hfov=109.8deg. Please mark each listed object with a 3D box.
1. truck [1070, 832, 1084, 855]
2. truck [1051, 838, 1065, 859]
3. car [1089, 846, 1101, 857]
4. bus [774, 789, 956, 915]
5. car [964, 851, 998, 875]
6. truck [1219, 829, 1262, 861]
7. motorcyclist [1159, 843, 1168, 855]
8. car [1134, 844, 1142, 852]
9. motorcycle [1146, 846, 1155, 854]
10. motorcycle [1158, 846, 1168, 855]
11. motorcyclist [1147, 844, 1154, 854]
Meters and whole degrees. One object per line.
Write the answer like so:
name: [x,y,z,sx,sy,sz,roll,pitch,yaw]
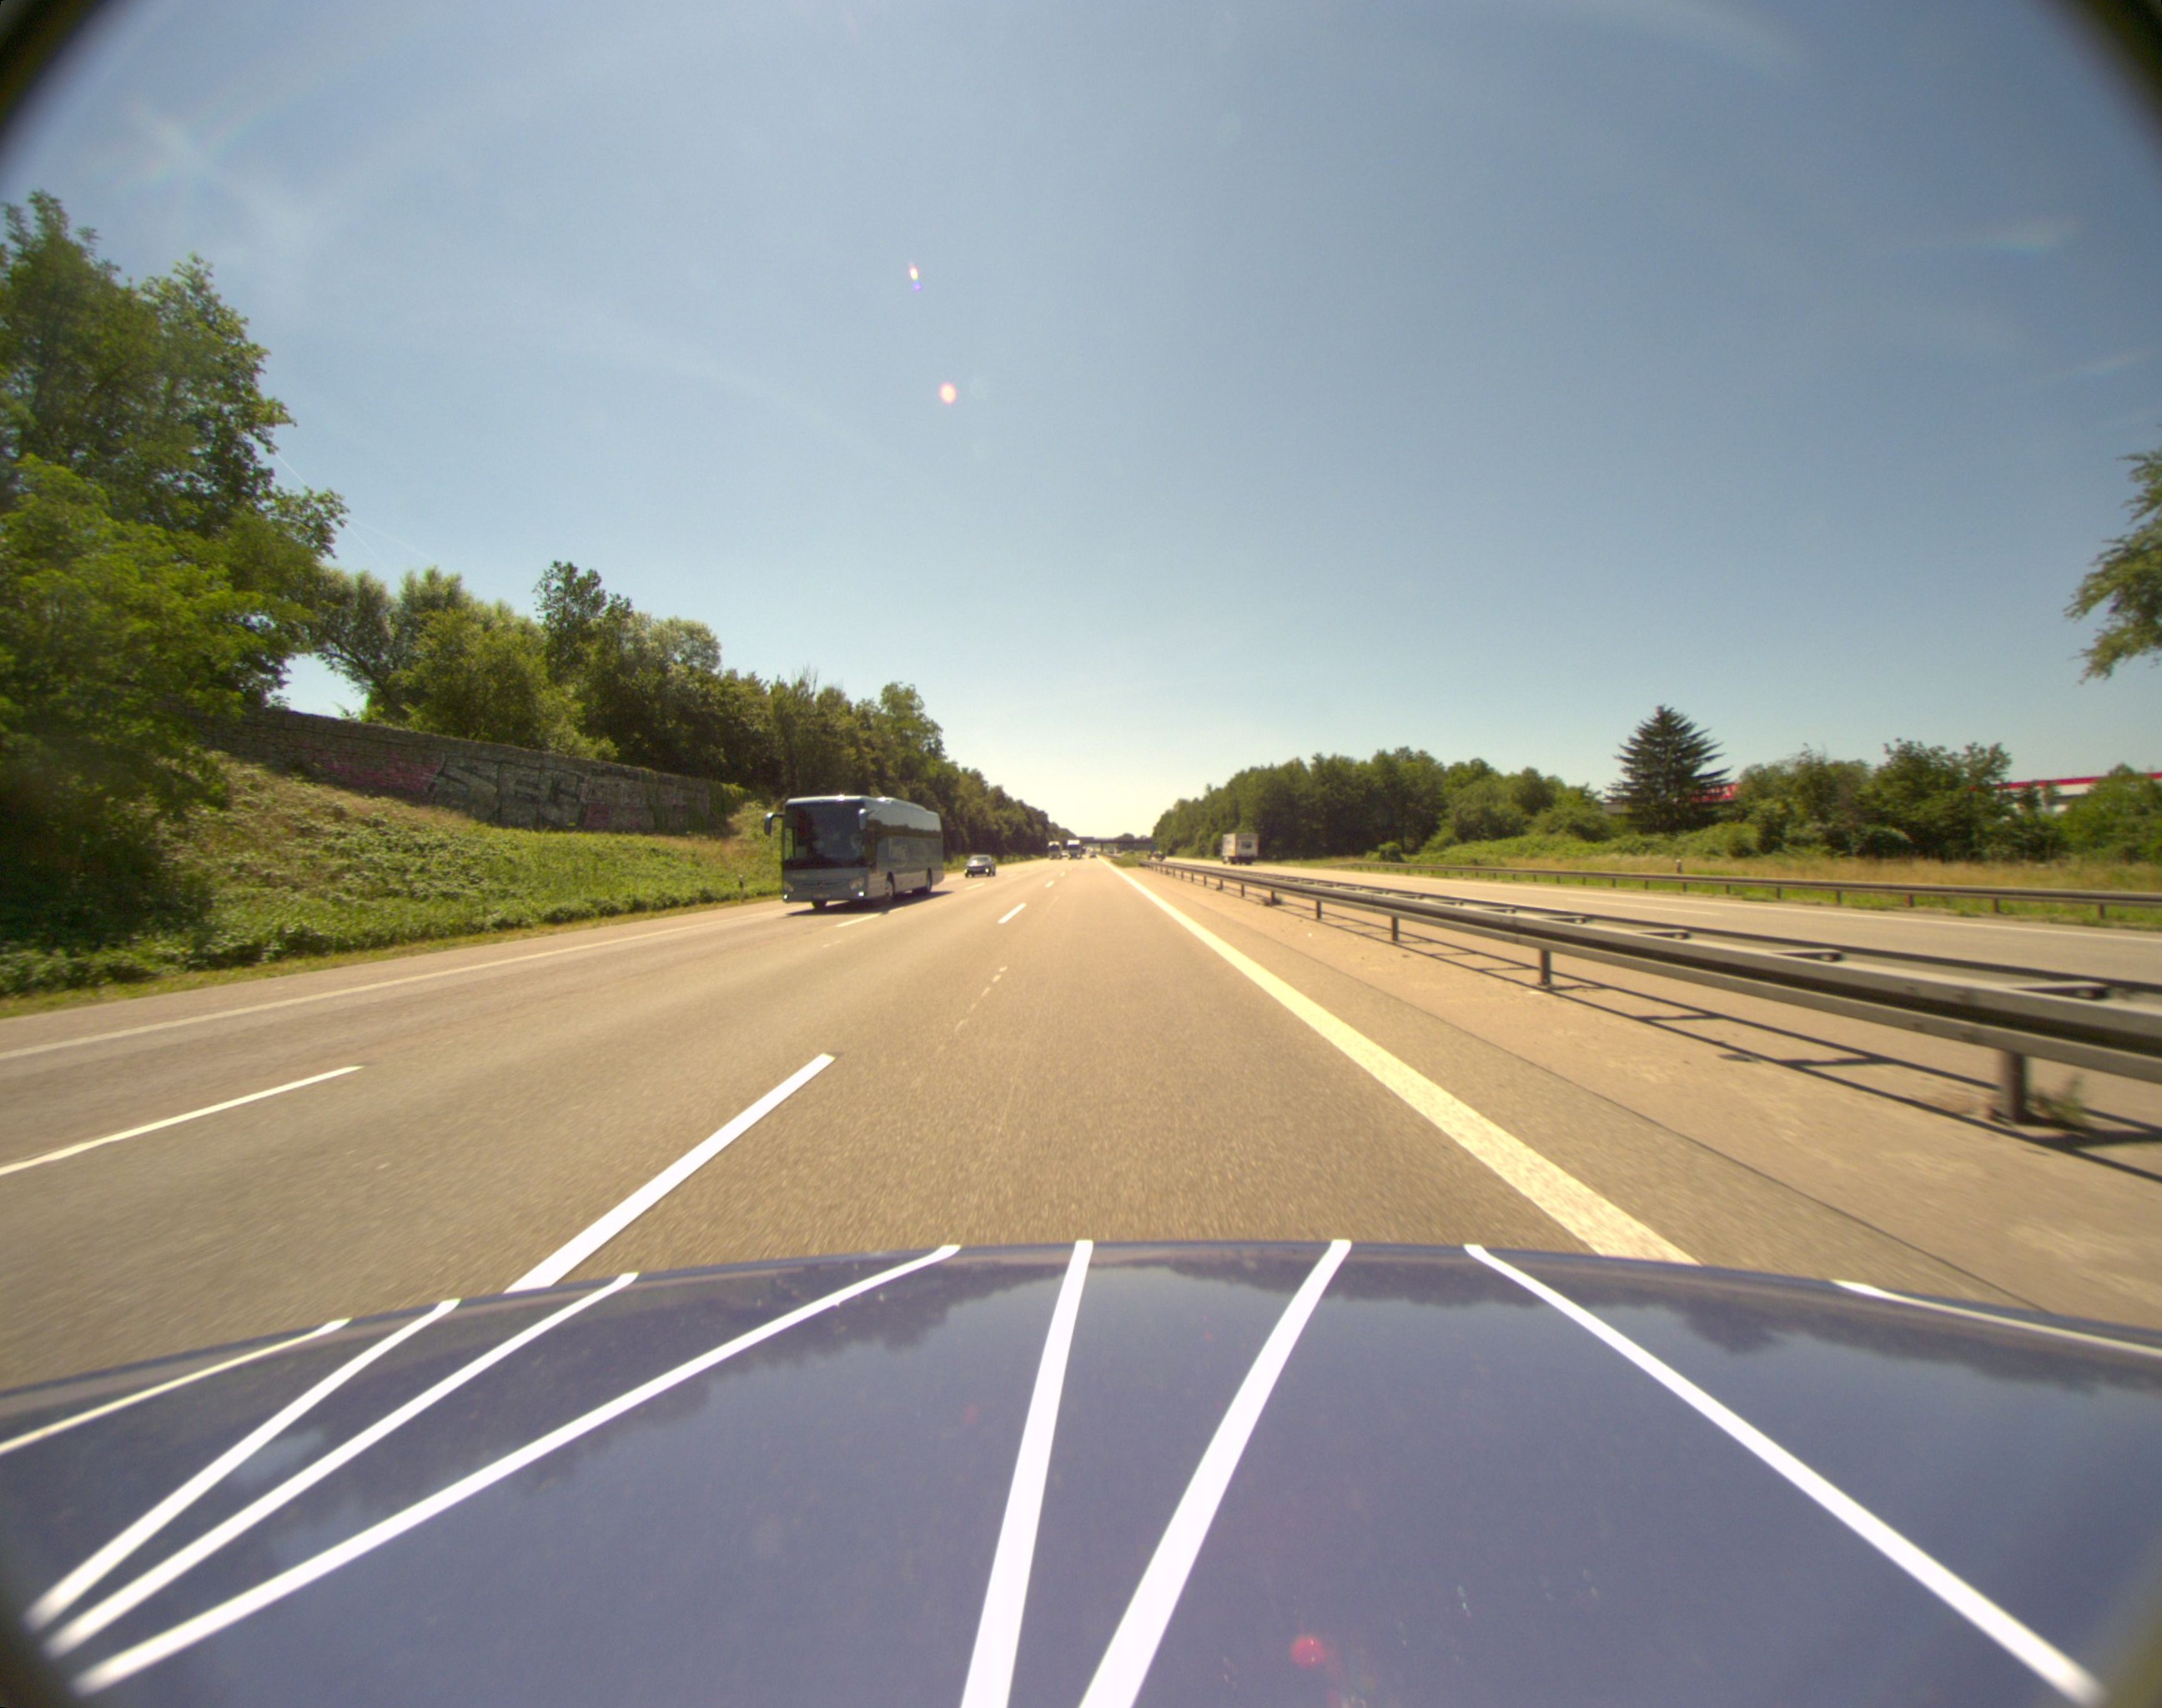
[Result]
truck: [-0.809,-2.266,165.468,2.616,4.638,10.960,-2,1,1]
truck: [-5.253,-1.389,174.960,2.616,4.638,10.960,-2,1,1]
car: [3.153,-0.581,173.953,2.616,2.390,7.122,-2,1,1]
bus: [-7.316,-0.147,28.643,2.617,3.532,13.681,-2,1,1]
car: [-7.152,0.625,54.814,1.814,1.607,3.999,-2,1,1]
truck: [18.996,-1.101,91.256,3.002,3.598,10.269,-2,1,1]
motorcyclist: [11.096,-0.643,102.499,1.043,1.590,1.151,-2,1,1]
car: [13.907,-1.548,185.188,1.844,1.771,3.512,-2,1,1]
motorcycle: [11.404,-0.619,124.692,1.037,1.231,3.810,-2,1,1]
motorcycle: [11.115,-0.474,102.596,1.037,1.260,2.577,-2,1,1]
motorcyclist: [11.414,-0.813,124.675,1.043,1.590,1.151,-2,1,1]
